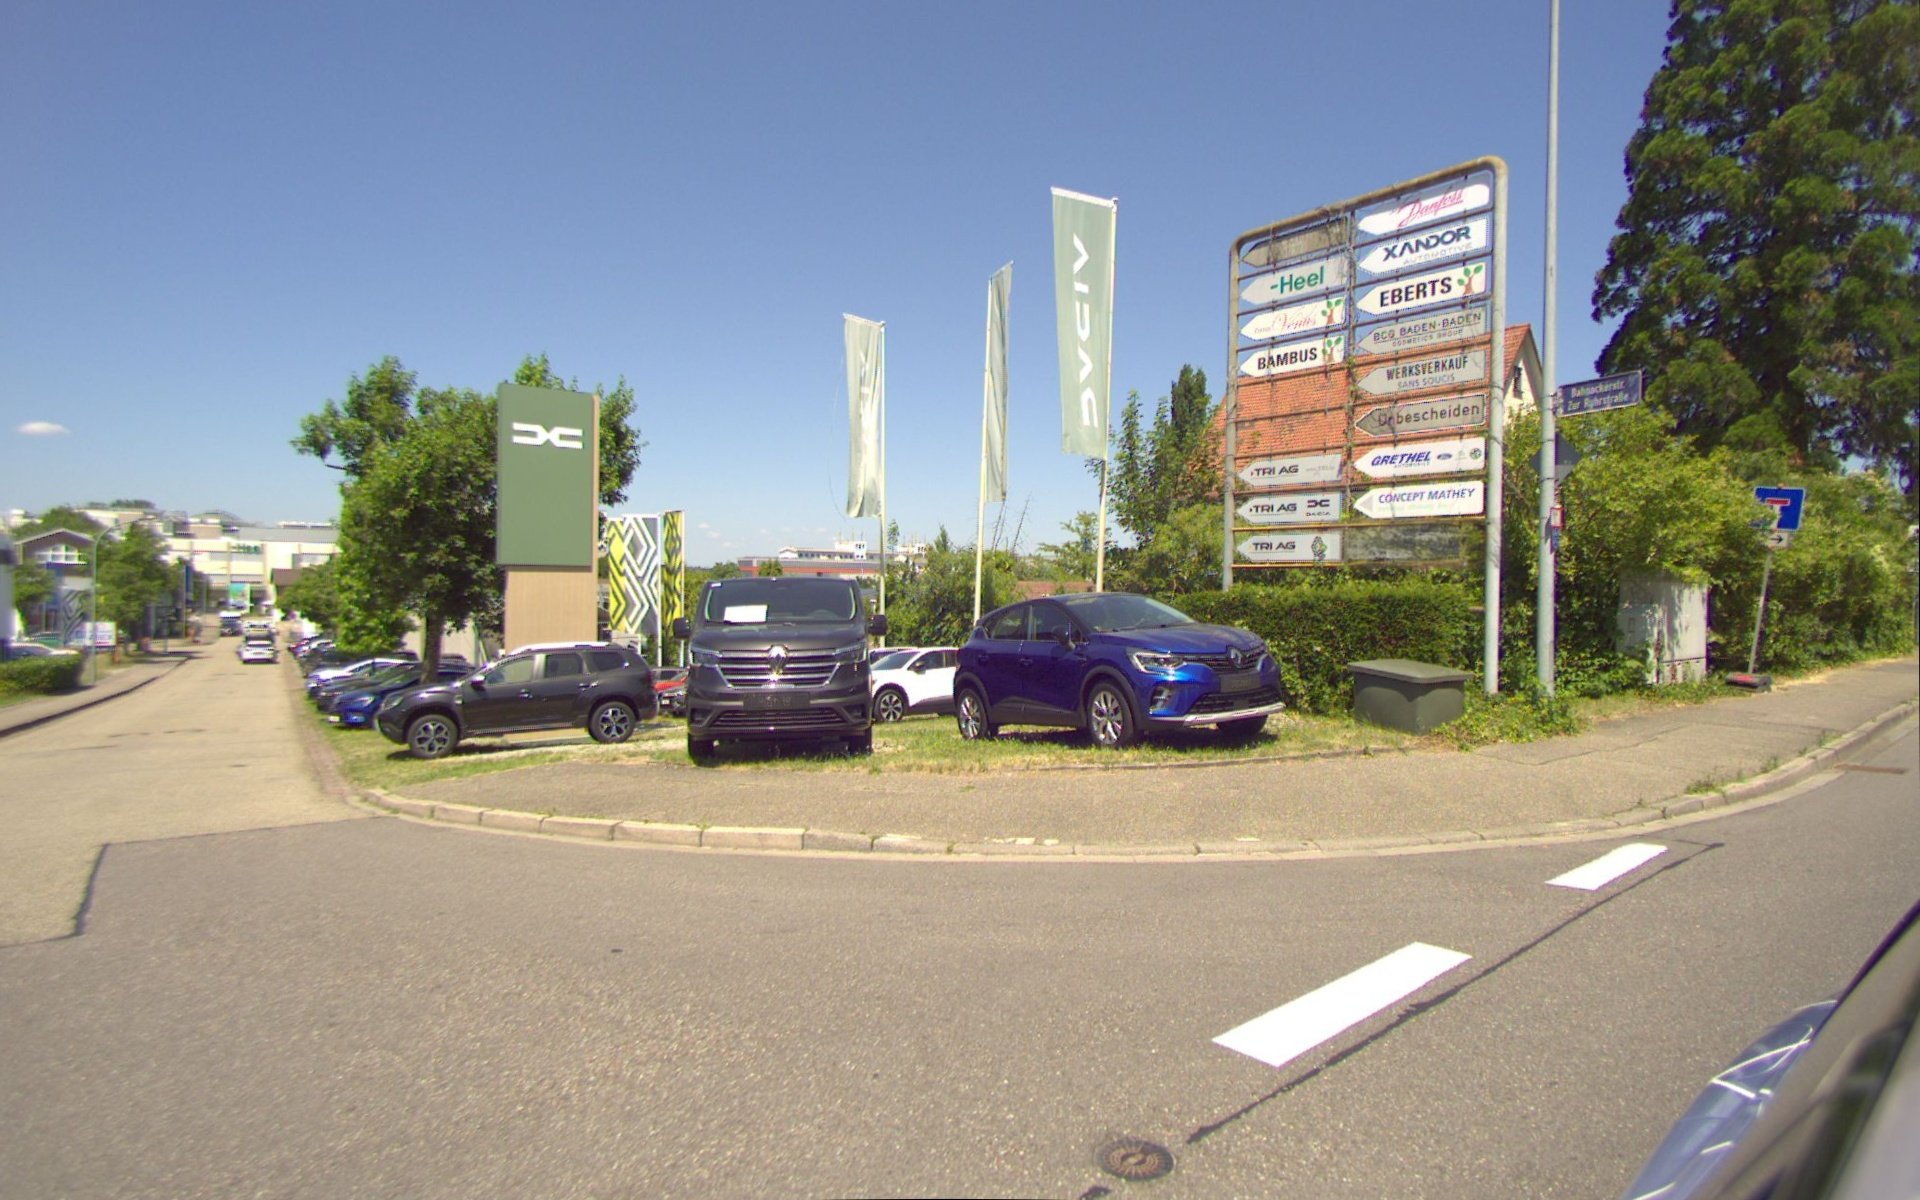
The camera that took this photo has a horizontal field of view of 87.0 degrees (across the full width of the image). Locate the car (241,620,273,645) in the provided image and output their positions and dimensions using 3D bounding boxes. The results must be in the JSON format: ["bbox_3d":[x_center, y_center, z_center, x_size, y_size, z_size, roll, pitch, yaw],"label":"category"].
[{"bbox_3d":[-55.884,2.546,80.474,1.848,1.872,4.002,1,-1,-32],"label":"car"}]

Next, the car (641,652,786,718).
[{"bbox_3d":[-7.560,2.547,31.176,3.930,1.725,1.872,1,-1,-41],"label":"car"}]

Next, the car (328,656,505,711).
[{"bbox_3d":[-16.496,2.572,30.870,1.865,1.556,4.340,-3,-6,43],"label":"car"}]

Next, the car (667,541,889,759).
[{"bbox_3d":[-2.045,0.626,11.780,1.957,1.925,5.280,-1,-4,-9],"label":"car"}]

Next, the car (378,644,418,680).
[{"bbox_3d":[-29.595,3.220,53.243,1.743,1.654,3.871,1,-1,-30],"label":"car"}]

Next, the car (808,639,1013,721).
[{"bbox_3d":[-0.932,1.651,20.834,1.823,1.511,4.076,-4,-6,44],"label":"car"}]

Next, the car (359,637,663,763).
[{"bbox_3d":[-7.197,1.528,16.516,4.277,1.679,1.832,-1,-2,-24],"label":"car"}]

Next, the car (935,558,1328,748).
[{"bbox_3d":[1.518,0.601,10.582,1.819,1.534,4.083,-2,-4,-28],"label":"car"}]

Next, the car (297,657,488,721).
[{"bbox_3d":[-15.030,2.382,26.978,1.743,1.556,4.027,-2,-6,39],"label":"car"}]

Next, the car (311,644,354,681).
[{"bbox_3d":[-32.215,3.181,52.025,1.743,1.654,3.871,1,-1,-30],"label":"car"}]

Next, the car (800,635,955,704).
[{"bbox_3d":[-1.965,1.729,24.657,3.372,1.529,1.737,6,-7,-41],"label":"car"}]

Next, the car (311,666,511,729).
[{"bbox_3d":[-13.428,2.366,24.927,1.707,1.391,3.941,-2,-5,39],"label":"car"}]

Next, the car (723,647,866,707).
[{"bbox_3d":[-4.393,2.014,27.040,3.372,1.462,1.737,2,-4,-42],"label":"car"}]

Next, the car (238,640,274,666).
[{"bbox_3d":[-46.119,3.433,66.361,1.730,1.484,3.924,1,-1,-32],"label":"car"}]

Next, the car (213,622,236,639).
[{"bbox_3d":[-80.634,3.318,110.995,1.920,1.739,3.534,1,-1,-35],"label":"car"}]

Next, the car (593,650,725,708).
[{"bbox_3d":[-10.286,2.636,34.679,3.930,1.725,1.872,1,-1,-41],"label":"car"}]

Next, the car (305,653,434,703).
[{"bbox_3d":[-21.314,2.772,36.577,3.922,1.543,1.780,1,-1,-33],"label":"car"}]

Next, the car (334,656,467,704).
[{"bbox_3d":[-19.291,2.710,34.922,3.922,1.406,1.780,1,-1,-33],"label":"car"}]
